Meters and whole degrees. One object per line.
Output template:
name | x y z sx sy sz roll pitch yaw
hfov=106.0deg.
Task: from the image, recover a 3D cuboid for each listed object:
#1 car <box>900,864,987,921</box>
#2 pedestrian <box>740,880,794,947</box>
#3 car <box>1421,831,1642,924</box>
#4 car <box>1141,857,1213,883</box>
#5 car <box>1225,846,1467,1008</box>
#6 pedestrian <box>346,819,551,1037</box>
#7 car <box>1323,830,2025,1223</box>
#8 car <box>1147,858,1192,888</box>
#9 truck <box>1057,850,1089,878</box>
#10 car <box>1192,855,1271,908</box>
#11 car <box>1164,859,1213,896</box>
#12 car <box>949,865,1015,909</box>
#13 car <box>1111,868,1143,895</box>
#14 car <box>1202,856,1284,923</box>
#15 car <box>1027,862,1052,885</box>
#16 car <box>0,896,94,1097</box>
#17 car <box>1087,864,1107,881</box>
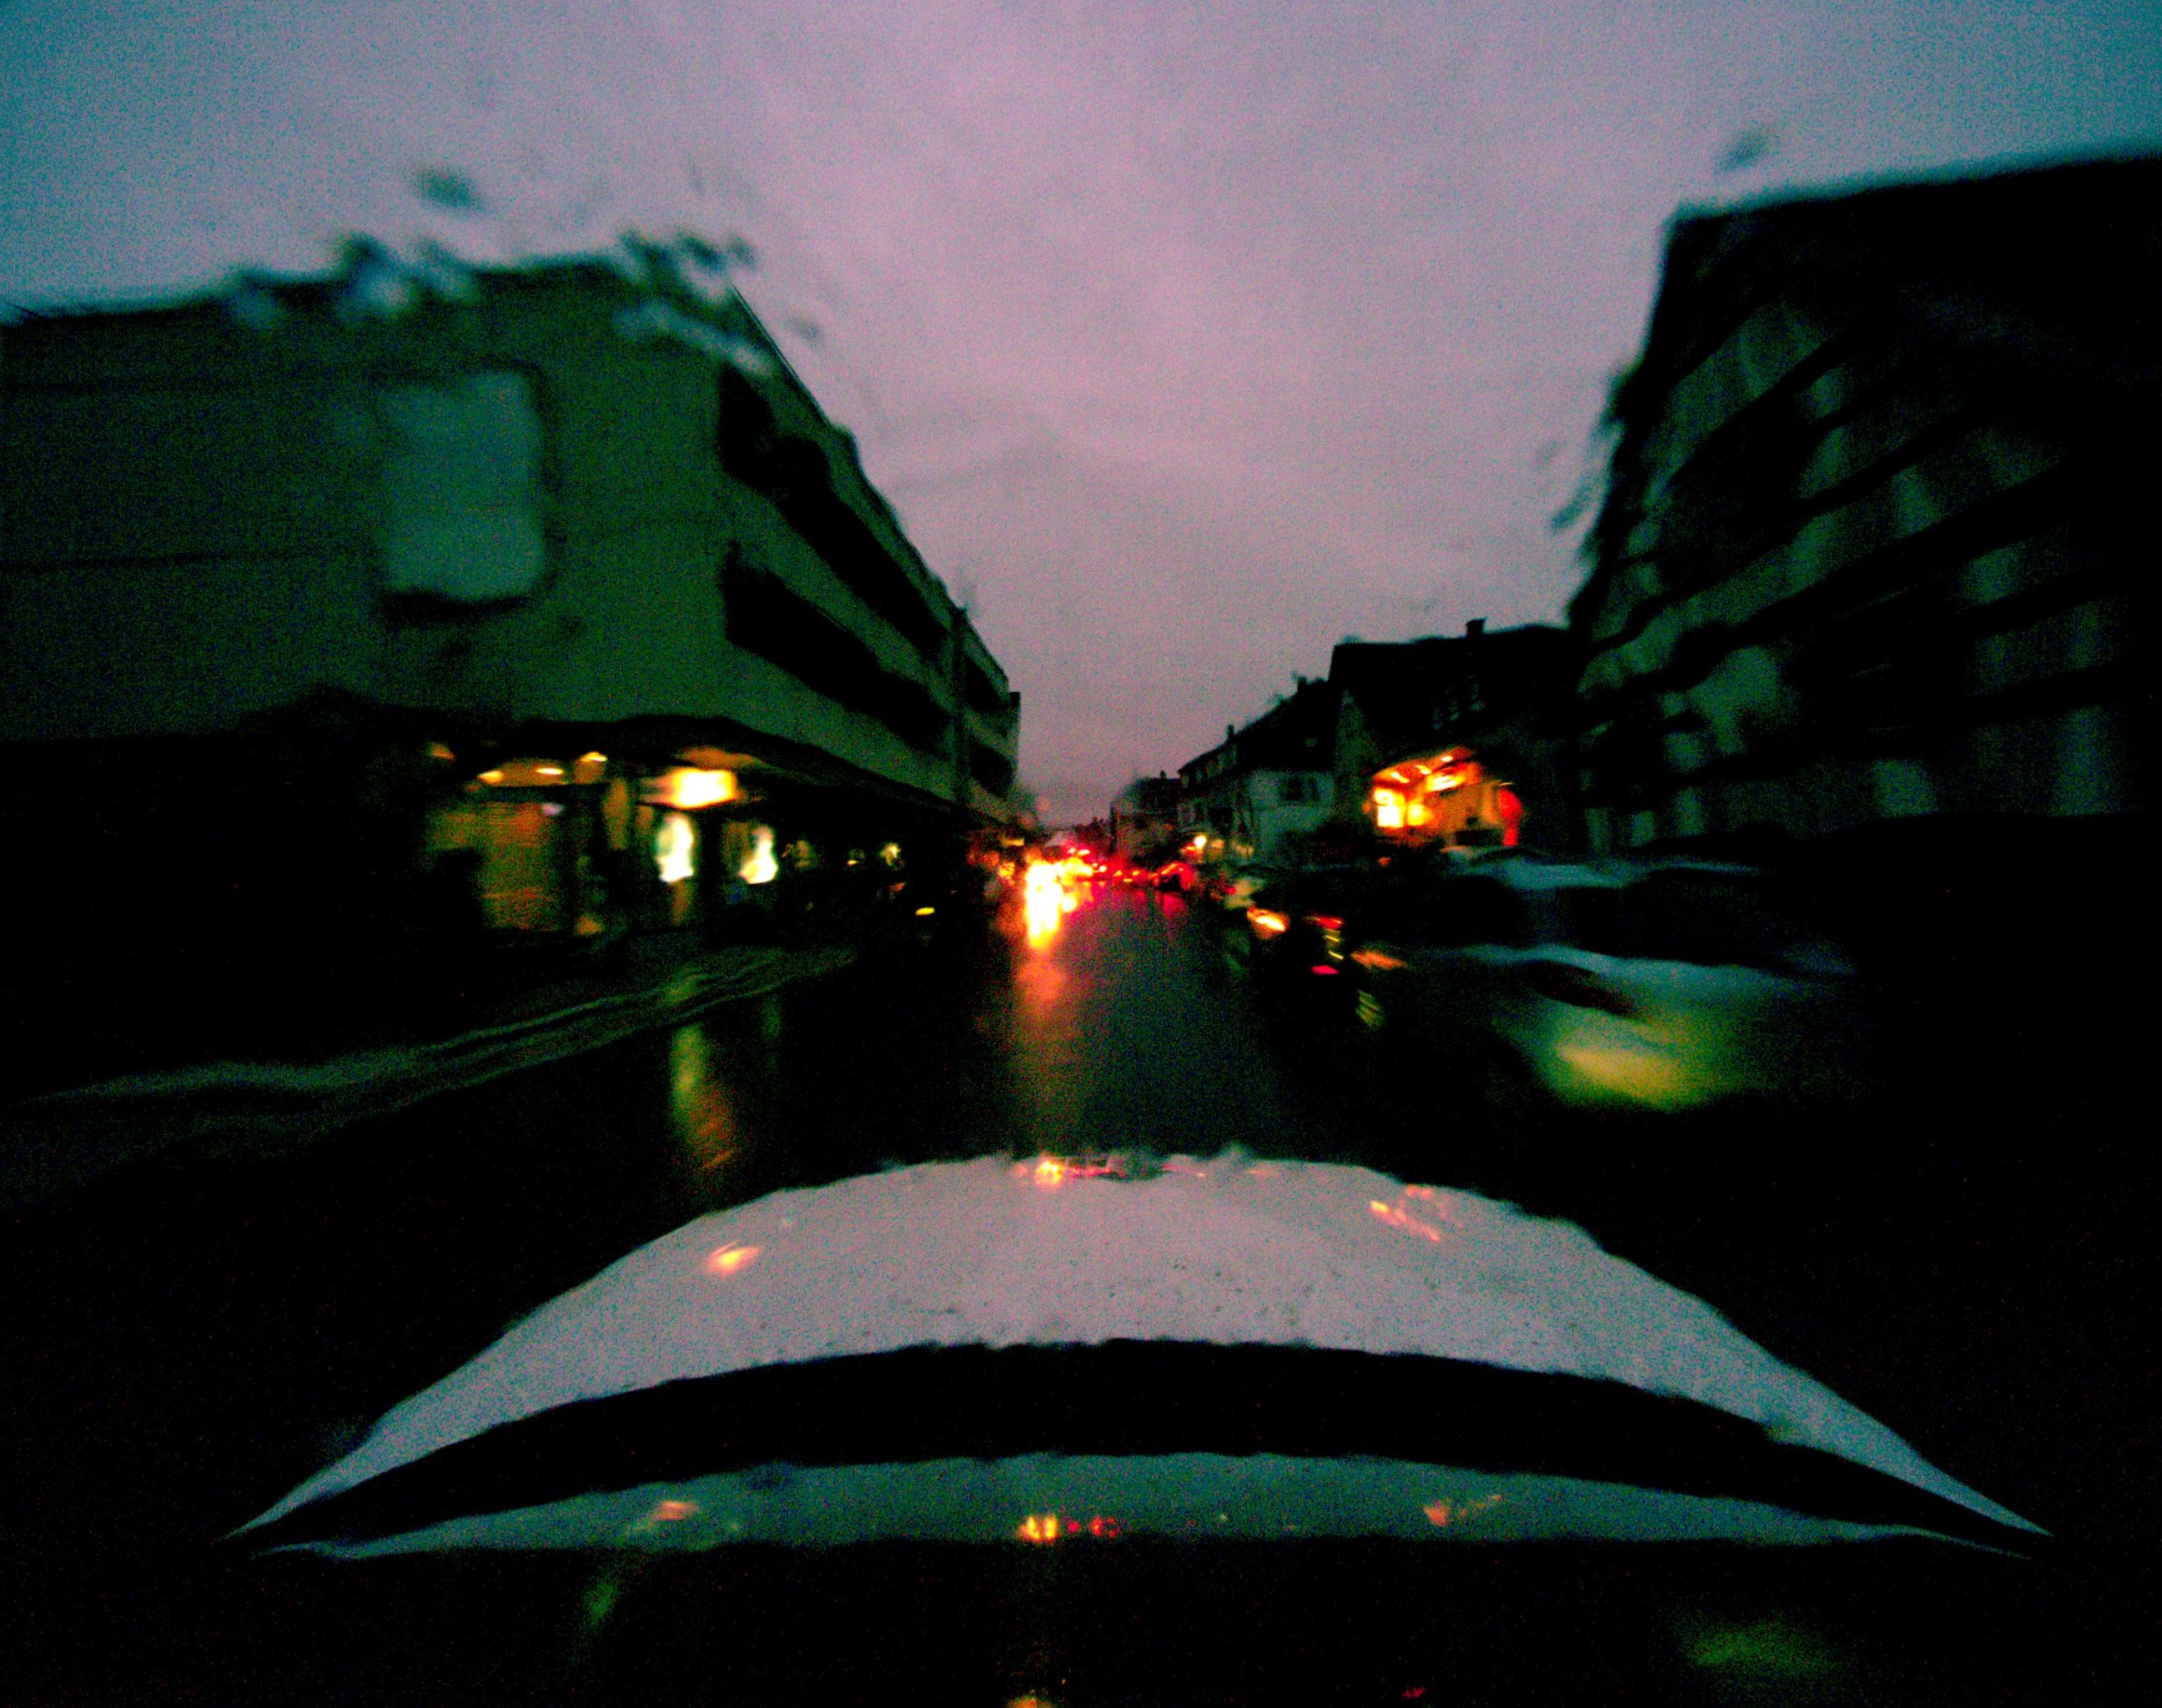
car | -3.985 1.076 24.161 1.607 1.533 3.933 0 -1 5
pedestrian | -6.455 1.210 16.782 0.752 1.310 0.829 0 -1 2
car | 8.647 0.448 15.872 3.277 1.441 1.687 -5 -2 2
car | 6.363 1.033 54.285 4.460 1.473 1.894 -3 0 -6
car | 3.060 0.769 10.434 1.757 1.526 4.392 -4 -1 3
pedestrian | -6.098 0.673 7.941 0.968 1.938 1.204 -2 0 6
car | 2.923 0.717 5.236 1.724 1.459 4.004 -4 -1 4
car | 4.951 1.032 45.991 1.877 1.547 4.668 -3 0 -2
truck | -1.039 1.204 96.269 3.012 3.129 7.982 0 -1 -6
car | 4.747 0.841 26.302 1.815 1.423 4.611 -4 -1 3
car | 4.826 1.032 36.995 1.787 1.460 4.534 -4 -1 3
car | -3.525 1.152 29.775 1.668 1.446 4.431 0 -1 3
car | 2.590 1.526 46.583 1.633 1.481 3.377 0 -1 -1
car | 4.008 0.847 20.641 1.618 1.441 3.806 -4 -1 6
car | -3.088 1.395 59.659 1.791 1.642 3.806 0 0 -4
car | -9.224 1.179 4.588 1.757 1.499 4.451 -3 1 1
car | 1.375 1.582 70.956 1.633 1.481 3.270 0 0 0
